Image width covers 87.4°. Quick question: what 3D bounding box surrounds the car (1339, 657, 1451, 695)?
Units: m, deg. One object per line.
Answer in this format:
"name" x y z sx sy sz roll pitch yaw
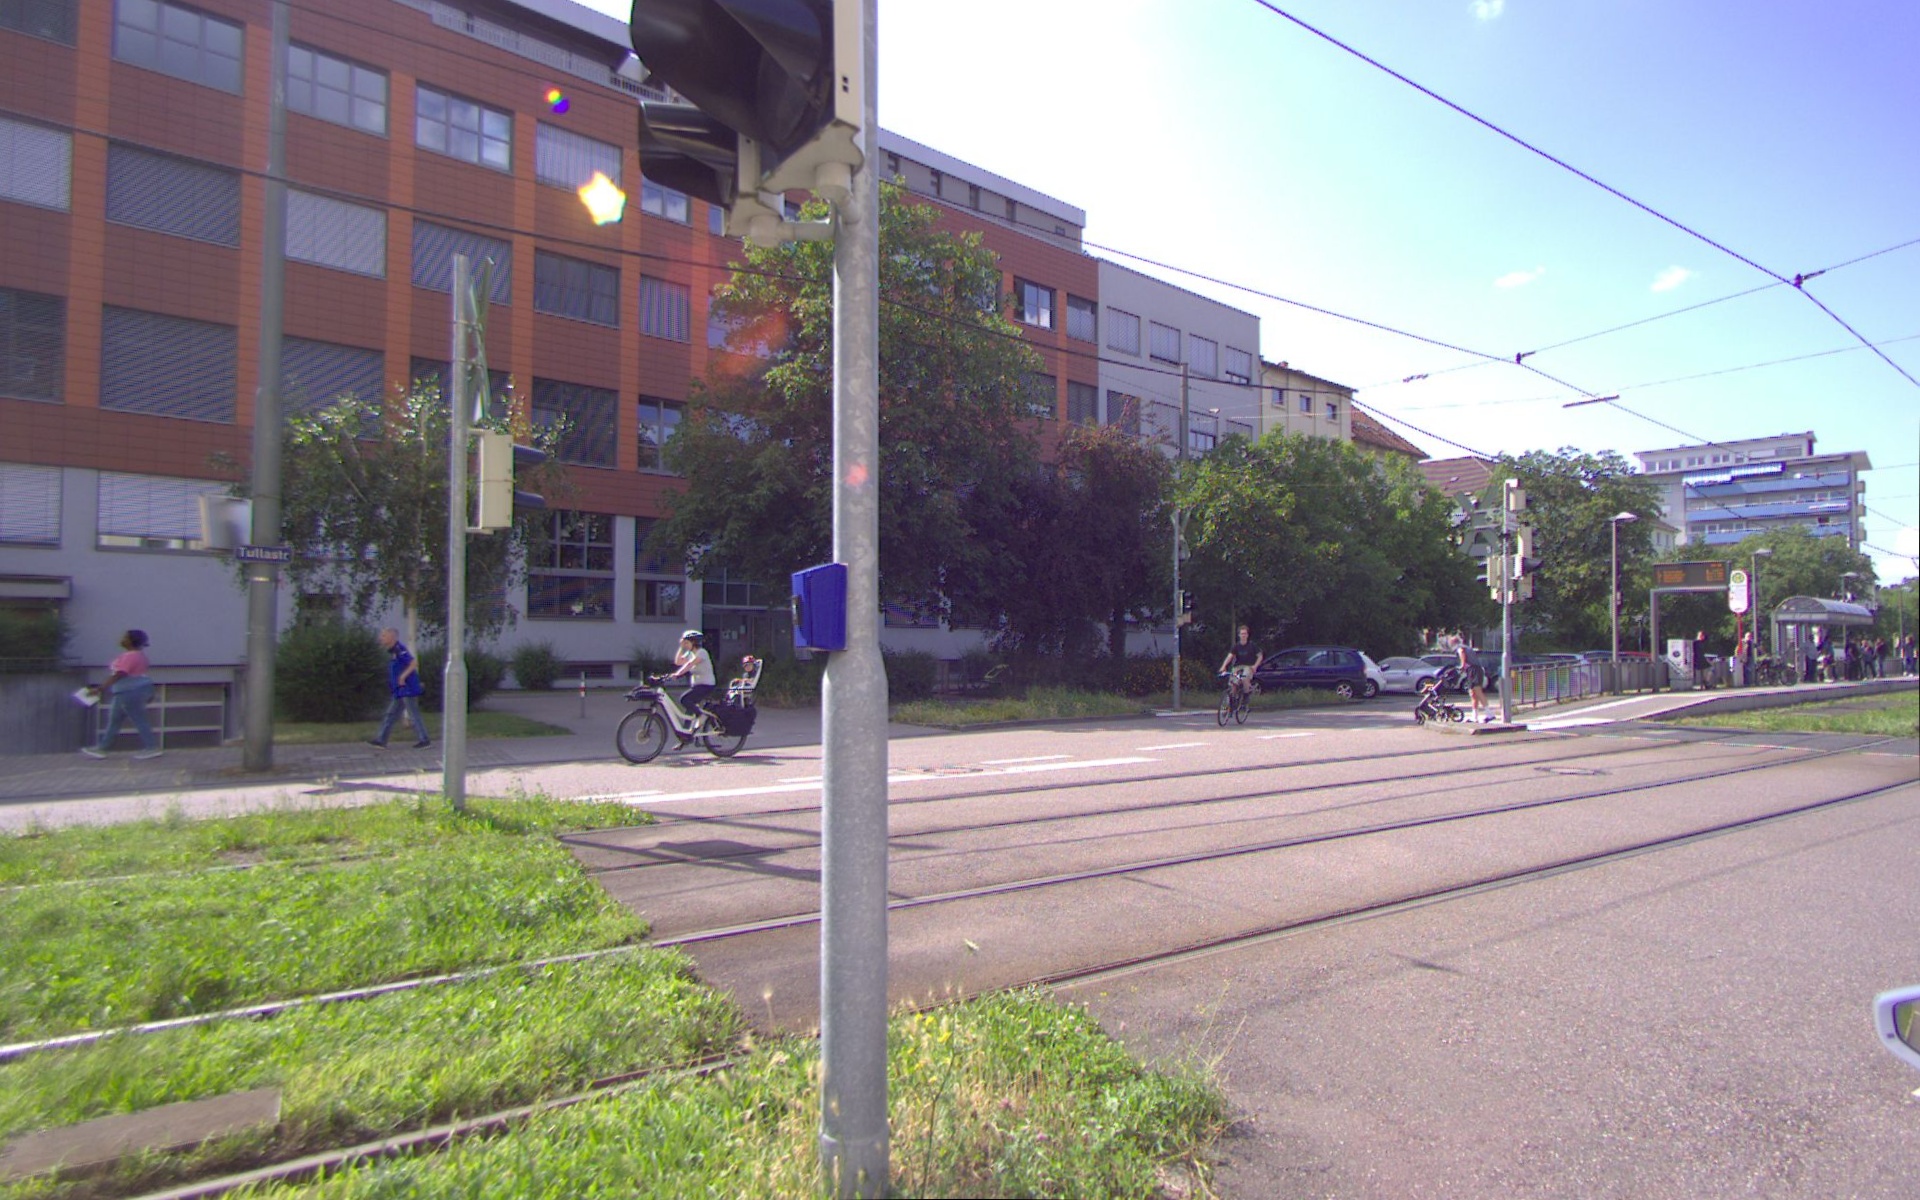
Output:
"car" 15.049 2.612 34.929 3.320 1.252 1.546 -1 -3 12

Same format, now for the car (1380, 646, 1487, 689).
"car" 17.355 2.461 36.946 3.320 1.524 1.546 -1 -3 14

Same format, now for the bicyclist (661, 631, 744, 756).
"bicyclist" -3.457 1.232 13.485 0.855 1.602 0.780 2 -4 -35

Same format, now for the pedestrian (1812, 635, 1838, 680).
"pedestrian" 34.301 2.287 39.836 0.551 1.759 0.590 2 -4 -34

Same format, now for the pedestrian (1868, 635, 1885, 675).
"pedestrian" 40.438 2.419 44.337 0.482 1.734 0.461 -3 -4 42

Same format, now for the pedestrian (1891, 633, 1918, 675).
"pedestrian" 46.351 2.648 49.291 0.650 2.040 0.804 -1 -2 22

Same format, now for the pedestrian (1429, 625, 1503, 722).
"pedestrian" 9.646 1.399 19.170 0.995 1.798 0.864 2 -5 -39

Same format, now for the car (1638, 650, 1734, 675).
"car" 40.608 3.513 56.271 3.919 1.385 1.718 -1 -3 11

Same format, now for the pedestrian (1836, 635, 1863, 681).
"pedestrian" 35.469 2.310 40.058 0.631 1.789 0.601 1 -3 -29

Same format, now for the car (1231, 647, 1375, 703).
"car" 10.606 2.299 31.341 4.049 1.662 1.727 0 -3 12

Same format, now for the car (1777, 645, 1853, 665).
"car" 64.031 4.131 75.293 3.920 1.466 1.729 -1 -3 17

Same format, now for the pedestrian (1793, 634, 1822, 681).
"pedestrian" 31.269 2.115 37.050 0.650 1.714 0.650 2 -4 -38

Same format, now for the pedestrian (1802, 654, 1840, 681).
"pedestrian" 32.559 2.556 37.980 0.790 1.001 0.918 3 -5 -36

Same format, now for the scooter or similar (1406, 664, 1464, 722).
"scooter or similar" 9.111 1.772 19.247 0.940 1.078 0.796 -3 -4 27

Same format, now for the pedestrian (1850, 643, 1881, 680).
"pedestrian" 36.112 2.454 40.069 0.552 1.444 0.656 0 -3 -1

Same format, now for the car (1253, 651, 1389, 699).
"car" 11.879 2.465 33.322 4.049 1.518 1.727 -1 -3 12

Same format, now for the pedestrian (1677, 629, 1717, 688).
"pedestrian" 22.005 1.743 30.004 0.654 1.749 0.715 0 -2 4

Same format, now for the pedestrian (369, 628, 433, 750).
"pedestrian" -7.955 1.251 14.291 0.738 1.678 0.554 2 -3 -30

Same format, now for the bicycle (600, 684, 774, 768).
"bicycle" -3.624 1.650 13.471 2.157 0.983 0.676 2 -4 -35

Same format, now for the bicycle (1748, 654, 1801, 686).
"bicycle" 26.408 2.267 32.557 1.749 0.987 0.683 1 -5 -29

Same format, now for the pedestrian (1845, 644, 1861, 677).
"pedestrian" 40.064 2.697 45.081 0.482 1.471 0.461 -3 -4 42

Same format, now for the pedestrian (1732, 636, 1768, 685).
"pedestrian" 26.099 2.012 33.176 0.678 1.590 0.660 1 -4 -31

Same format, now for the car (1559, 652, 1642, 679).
"car" 32.196 3.299 50.546 3.181 1.326 1.457 0 -3 6

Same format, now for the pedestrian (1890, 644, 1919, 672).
"pedestrian" 50.410 3.112 53.574 1.016 1.456 0.701 -4 -4 37

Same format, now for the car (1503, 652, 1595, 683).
"car" 25.967 2.946 44.324 3.181 1.326 1.457 0 -3 3

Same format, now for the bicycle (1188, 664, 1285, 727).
"bicycle" 5.528 1.880 20.039 1.142 1.193 1.777 -4 -5 44

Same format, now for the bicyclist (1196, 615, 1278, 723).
"bicyclist" 5.544 1.359 20.065 0.938 2.040 1.567 -2 -3 44

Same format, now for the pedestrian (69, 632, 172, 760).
"pedestrian" -10.981 1.231 13.174 0.879 1.594 0.742 1 -3 -30
